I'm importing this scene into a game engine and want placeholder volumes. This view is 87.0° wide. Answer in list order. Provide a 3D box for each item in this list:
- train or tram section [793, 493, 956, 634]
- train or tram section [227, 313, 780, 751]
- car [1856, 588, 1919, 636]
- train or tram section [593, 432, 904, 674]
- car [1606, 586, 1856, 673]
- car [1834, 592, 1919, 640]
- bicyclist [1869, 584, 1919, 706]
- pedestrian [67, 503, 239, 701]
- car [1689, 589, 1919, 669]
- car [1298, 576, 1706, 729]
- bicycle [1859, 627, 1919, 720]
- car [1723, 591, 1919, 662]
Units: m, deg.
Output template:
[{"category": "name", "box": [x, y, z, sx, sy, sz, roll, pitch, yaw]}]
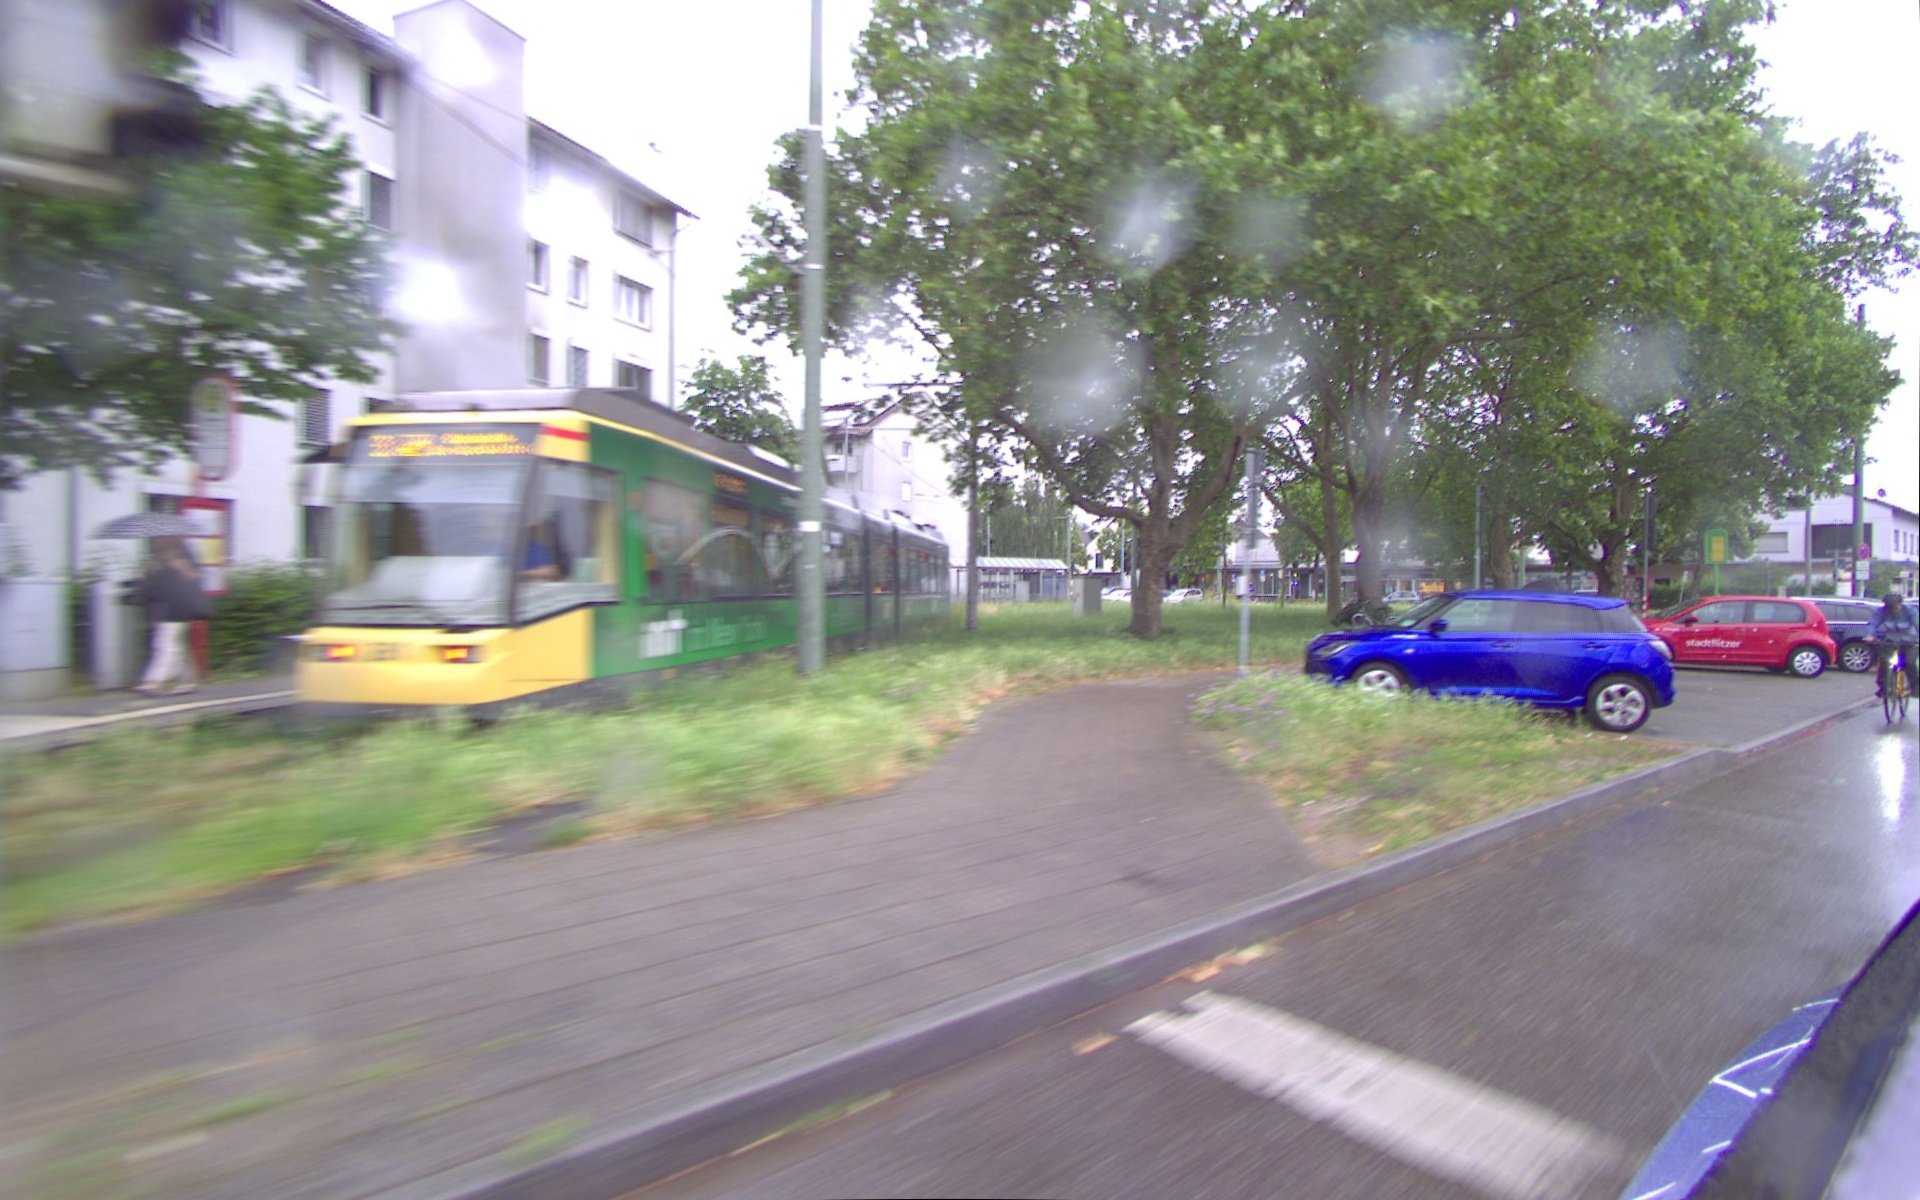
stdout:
[{"category": "train or tram section", "box": [-2.112, -1.016, 29.663, 2.710, 3.381, 10.334, 1, 1, 7]}, {"category": "train or tram section", "box": [-4.221, -0.622, 11.168, 2.709, 3.381, 6.391, 1, 1, 6]}, {"category": "car", "box": [32.439, 0.425, 33.578, 3.668, 1.541, 1.606, 1, 1, 25]}, {"category": "train or tram section", "box": [-3.298, -0.797, 19.419, 2.710, 3.381, 10.335, 1, 1, 7]}, {"category": "car", "box": [14.804, 0.511, 19.675, 3.538, 1.477, 1.606, 1, 1, 24]}, {"category": "car", "box": [30.012, 0.513, 31.663, 3.668, 1.433, 1.606, 1, 1, 25]}, {"category": "bicyclist", "box": [12.282, 0.566, 13.054, 0.702, 1.531, 0.710, 0, 1, -40]}, {"category": "pedestrian", "box": [-7.725, 0.004, 9.741, 0.848, 1.797, 1.019, 1, 1, 0]}, {"category": "car", "box": [17.878, 0.564, 21.431, 3.668, 1.502, 1.606, 1, 1, 25]}, {"category": "car", "box": [6.099, 0.509, 11.937, 3.947, 1.546, 1.710, 1, 1, 18]}, {"category": "bicycle", "box": [12.245, 0.915, 13.036, 2.062, 1.050, 0.710, 0, 1, -41]}, {"category": "car", "box": [20.421, 0.574, 23.791, 3.668, 1.502, 1.606, 1, 1, 25]}]
